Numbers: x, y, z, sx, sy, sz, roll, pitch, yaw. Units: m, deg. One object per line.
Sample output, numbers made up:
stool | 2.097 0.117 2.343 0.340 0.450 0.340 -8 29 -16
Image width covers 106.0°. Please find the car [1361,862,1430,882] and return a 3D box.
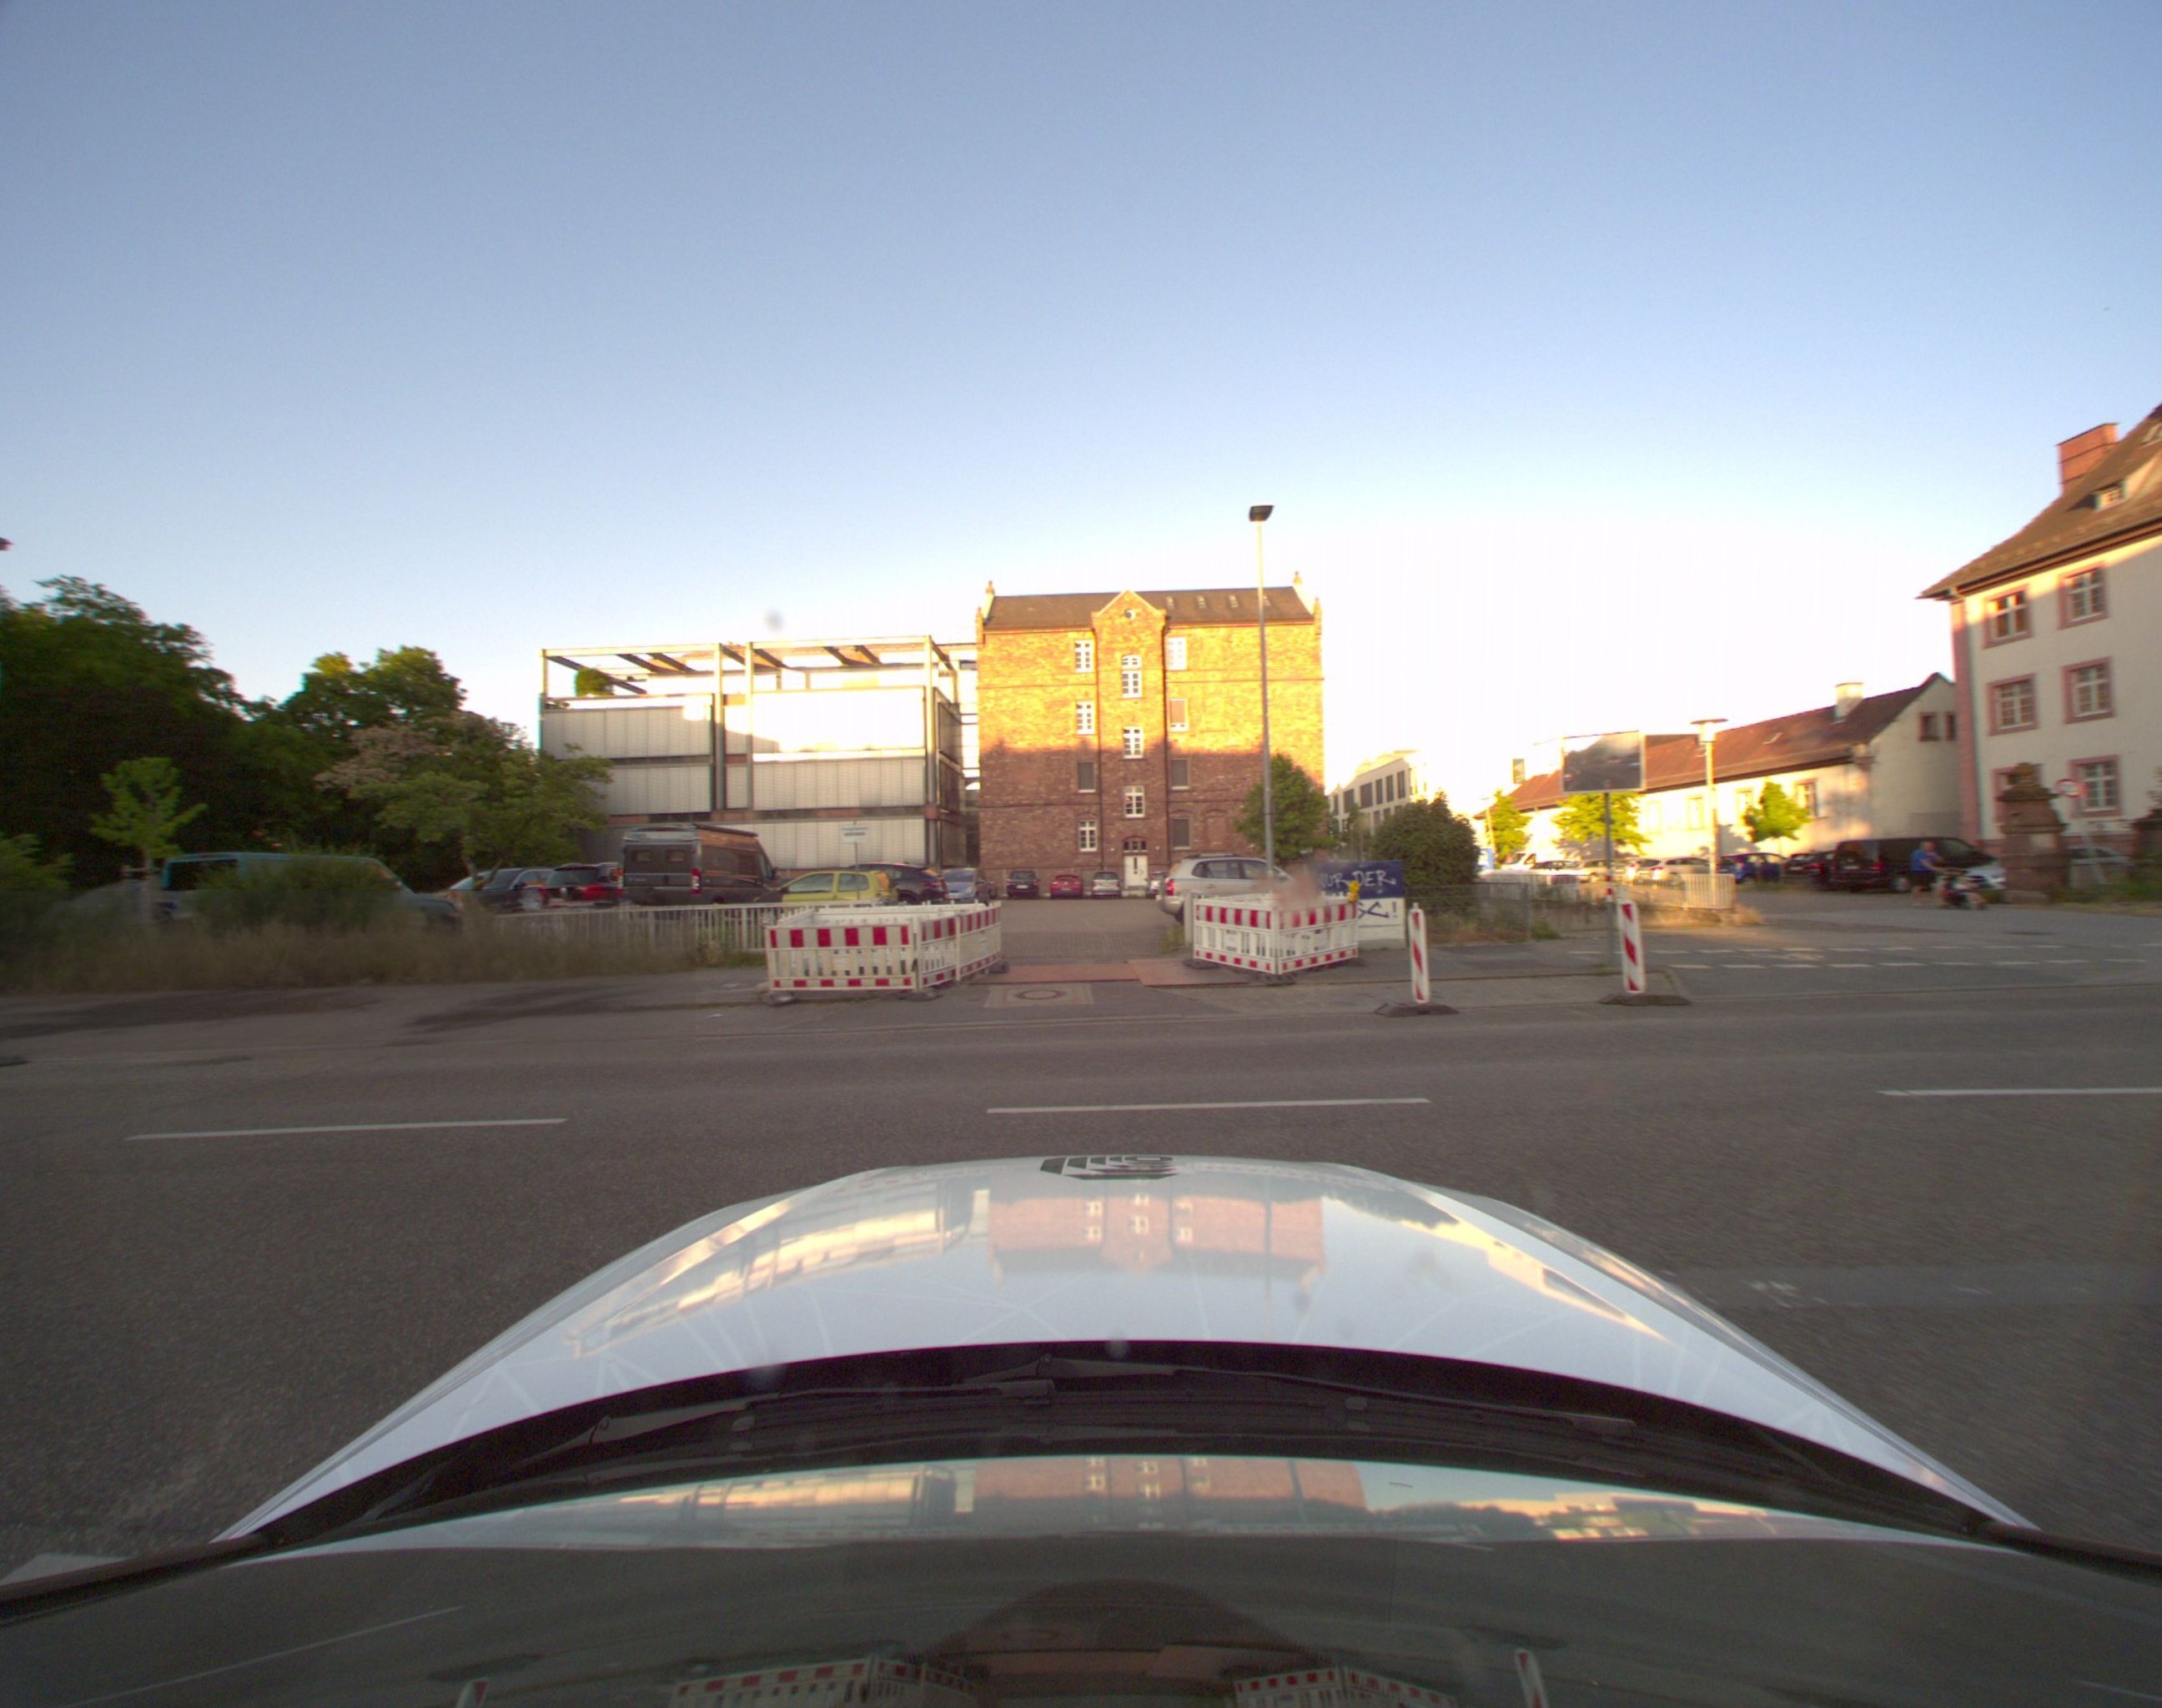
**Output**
car | 21.812 1.272 56.630 3.974 1.313 2.064 -1 -1 0

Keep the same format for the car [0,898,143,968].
car | -27.525 2.027 20.879 1.987 1.647 4.226 -2 -2 1

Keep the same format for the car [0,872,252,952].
car | -24.731 1.431 21.152 1.987 1.826 4.226 -2 -2 1

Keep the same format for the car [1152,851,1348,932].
car | 3.919 0.872 19.379 4.255 1.709 1.702 -2 -2 0

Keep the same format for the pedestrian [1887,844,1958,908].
pedestrian | 22.233 0.589 21.532 0.747 1.642 1.015 -1 -2 2

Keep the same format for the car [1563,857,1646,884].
car | 30.489 0.964 47.484 3.731 1.445 1.685 -1 -2 -3

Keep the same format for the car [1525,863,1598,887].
car | 30.719 1.352 52.124 3.731 1.445 1.685 -1 -2 -3

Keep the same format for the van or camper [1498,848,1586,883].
van or camper | 31.211 0.797 55.202 4.950 2.241 1.685 -1 -2 -3

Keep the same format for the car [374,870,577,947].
car | -15.258 1.301 20.877 1.988 1.727 4.299 -2 -1 -1

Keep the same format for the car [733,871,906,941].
car | -6.265 1.233 19.750 3.617 1.504 1.638 -2 -2 2

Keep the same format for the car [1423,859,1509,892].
car | 20.215 1.114 42.835 3.731 1.603 1.685 -2 -2 -3

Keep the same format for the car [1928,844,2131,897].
car | 28.900 0.502 24.905 3.977 1.459 1.998 -1 -2 -3

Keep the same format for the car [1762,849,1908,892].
car | 29.819 0.660 32.278 3.977 1.573 1.998 -1 -2 -3

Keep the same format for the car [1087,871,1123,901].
car | 1.335 1.721 45.246 1.889 1.537 4.180 -2 -1 2

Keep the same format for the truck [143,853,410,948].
truck | -20.039 1.115 20.654 2.096 2.091 4.517 -2 -2 5

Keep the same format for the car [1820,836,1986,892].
car | 29.546 0.387 29.360 3.977 1.859 1.998 -1 -2 -3

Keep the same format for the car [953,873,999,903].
car | -5.806 1.863 45.543 1.889 1.537 4.180 -2 -1 2

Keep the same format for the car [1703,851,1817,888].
car | 30.336 0.695 36.430 3.731 1.529 1.685 -1 -2 -3

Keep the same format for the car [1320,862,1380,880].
car | 20.634 1.303 62.498 3.974 1.313 1.877 -1 -1 0

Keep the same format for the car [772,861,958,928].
car | -5.819 1.088 22.231 4.565 1.638 1.576 -2 -2 2

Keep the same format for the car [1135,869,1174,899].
car | 4.037 1.639 45.137 1.889 1.537 4.180 -2 -1 2

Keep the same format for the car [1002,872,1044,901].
car | -3.196 1.788 45.553 1.889 1.537 4.180 -2 -1 2

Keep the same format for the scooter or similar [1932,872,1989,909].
scooter or similar | 22.127 0.917 20.499 0.512 0.890 0.806 -1 -2 2

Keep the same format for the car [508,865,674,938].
car | -12.737 1.191 21.509 1.988 1.692 3.998 -2 -1 -1

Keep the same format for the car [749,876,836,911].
car | -11.840 1.583 33.765 1.932 1.306 4.365 -2 -1 2

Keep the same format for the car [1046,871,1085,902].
car | -0.800 1.765 45.143 1.889 1.537 4.180 -2 -1 2

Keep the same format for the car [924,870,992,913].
car | -4.956 1.492 33.480 1.986 1.576 4.365 -2 -1 2

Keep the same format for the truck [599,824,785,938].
truck | -9.994 0.687 21.502 2.325 2.617 4.975 -2 -1 2

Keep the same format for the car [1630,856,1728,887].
car | 30.236 0.910 41.241 3.731 1.445 1.685 -1 -2 -3

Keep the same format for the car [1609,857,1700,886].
car | 30.952 0.933 44.030 3.731 1.445 1.685 -1 -2 -3
